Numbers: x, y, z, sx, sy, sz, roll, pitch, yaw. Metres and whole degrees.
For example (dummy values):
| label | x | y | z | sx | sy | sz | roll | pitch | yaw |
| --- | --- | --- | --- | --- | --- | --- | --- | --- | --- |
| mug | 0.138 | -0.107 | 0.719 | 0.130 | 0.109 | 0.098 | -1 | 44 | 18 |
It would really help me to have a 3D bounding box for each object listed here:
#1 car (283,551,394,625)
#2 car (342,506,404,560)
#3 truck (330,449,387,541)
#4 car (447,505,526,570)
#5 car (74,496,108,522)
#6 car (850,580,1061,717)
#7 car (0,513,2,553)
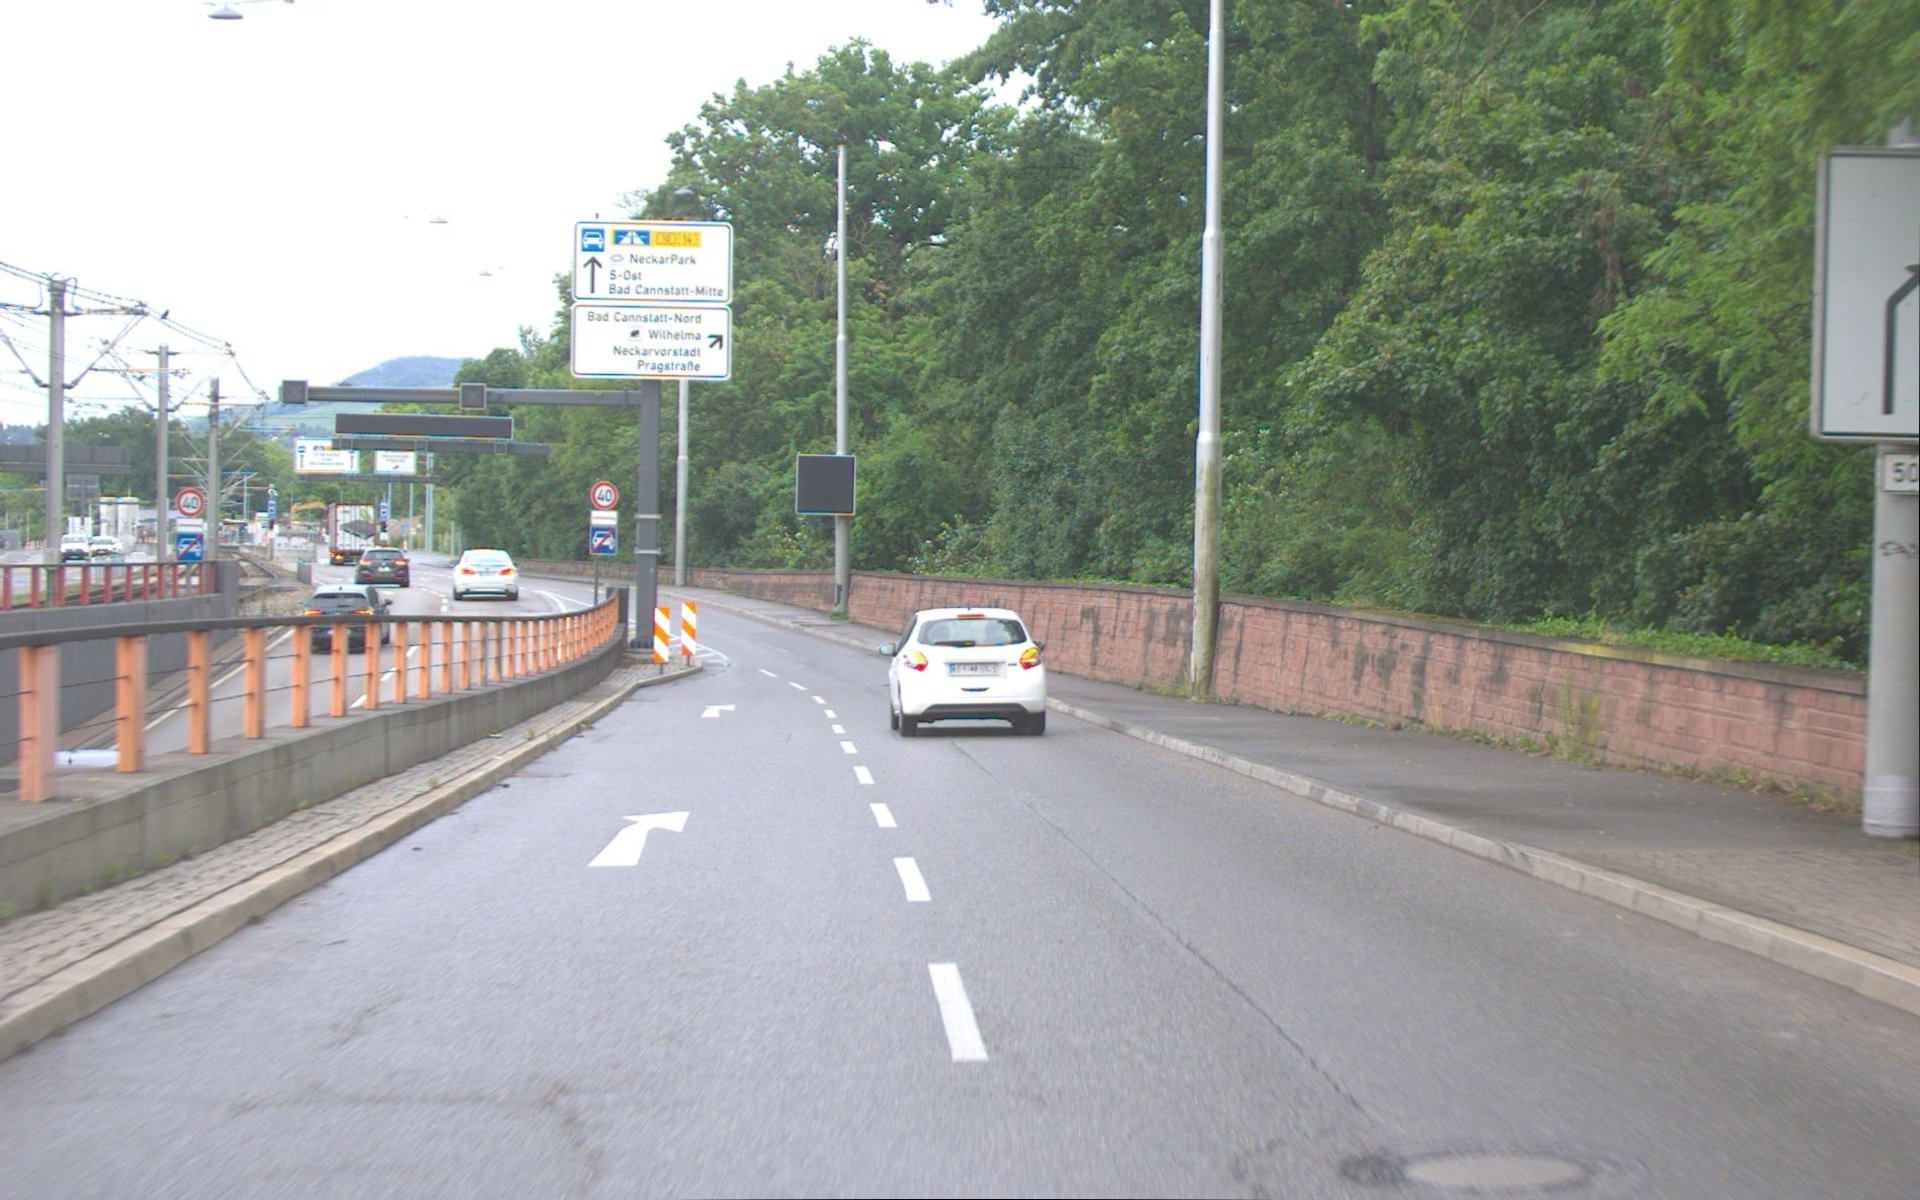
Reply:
| label | x | y | z | sx | sy | sz | roll | pitch | yaw |
| --- | --- | --- | --- | --- | --- | --- | --- | --- | --- |
| car | -13.933 | -0.291 | 77.246 | 1.993 | 1.570 | 4.001 | 0 | 1 | -3 |
| car | -20.523 | -2.350 | 120.156 | 1.993 | 1.866 | 4.001 | 0 | 1 | -12 |
| truck | -39.484 | -6.808 | 225.533 | 3.464 | 5.383 | 12.054 | 2 | -1 | -10 |
| car | -14.014 | -1.852 | 101.637 | 2.081 | 1.866 | 4.097 | 0 | 1 | -11 |
| car | -58.668 | -6.144 | 232.160 | 1.825 | 1.579 | 3.833 | 1 | 3 | -9 |
| car | -0.110 | 0.586 | 40.626 | 1.955 | 1.483 | 4.000 | 2 | -1 | -7 |
| car | -39.112 | -2.618 | 135.271 | 1.825 | 1.579 | 3.832 | 2 | 3 | -1 |
